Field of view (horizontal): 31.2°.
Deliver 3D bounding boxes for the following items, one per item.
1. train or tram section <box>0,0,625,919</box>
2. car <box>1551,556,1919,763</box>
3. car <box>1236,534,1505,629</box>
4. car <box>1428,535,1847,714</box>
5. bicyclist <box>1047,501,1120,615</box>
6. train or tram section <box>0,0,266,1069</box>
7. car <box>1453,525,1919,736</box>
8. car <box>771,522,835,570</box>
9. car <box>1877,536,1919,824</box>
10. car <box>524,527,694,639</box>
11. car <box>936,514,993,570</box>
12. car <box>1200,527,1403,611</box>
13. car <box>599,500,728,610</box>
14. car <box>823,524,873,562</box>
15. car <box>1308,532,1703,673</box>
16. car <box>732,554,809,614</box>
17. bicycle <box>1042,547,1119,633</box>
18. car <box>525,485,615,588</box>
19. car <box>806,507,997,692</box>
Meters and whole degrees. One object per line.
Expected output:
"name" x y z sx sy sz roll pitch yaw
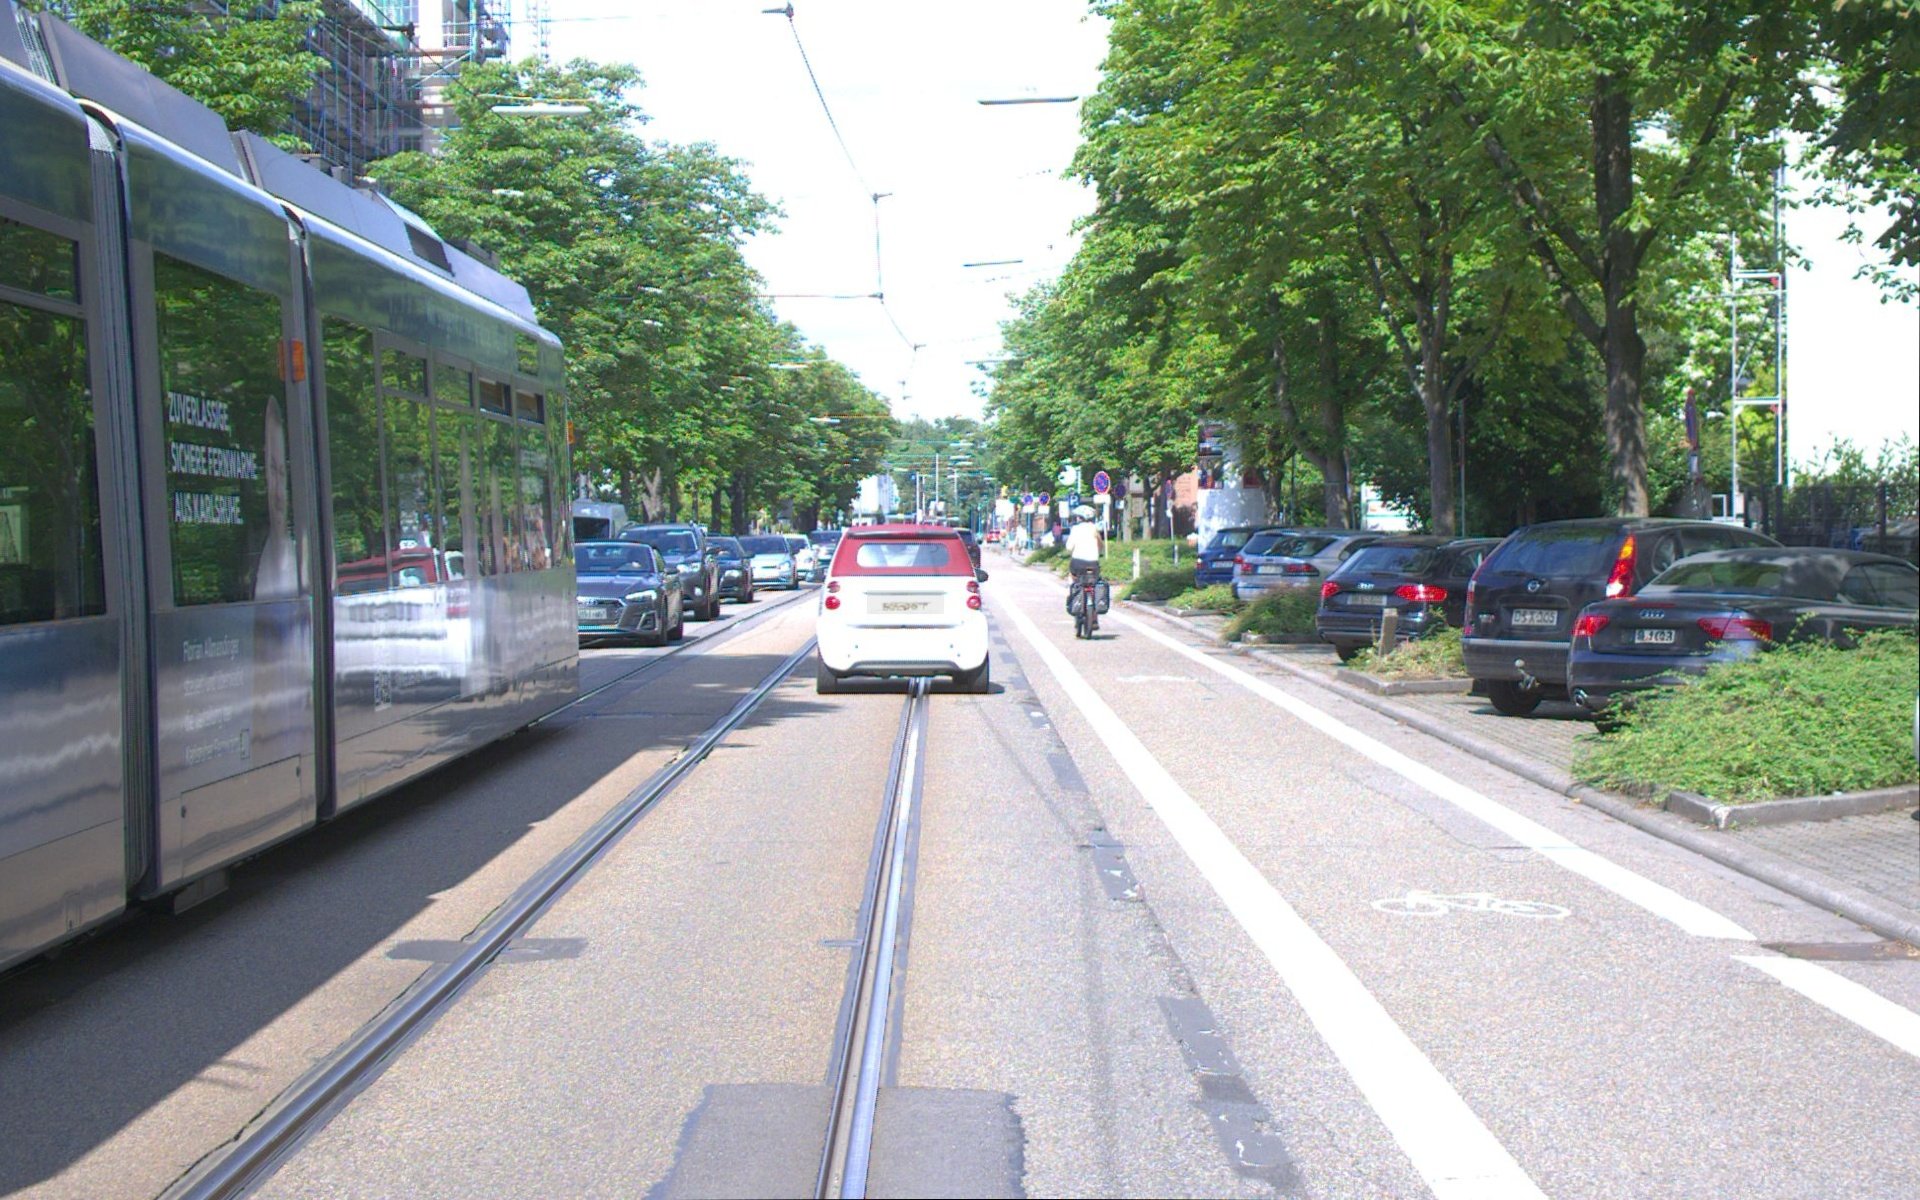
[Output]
"train or tram section" -3.977 -0.585 19.683 2.652 3.344 14.109 -2 1 0
"car" 6.342 0.395 25.145 4.164 1.344 1.904 0 1 -45
"car" 6.539 -0.318 54.576 4.230 1.415 1.723 -1 2 -38
"car" 6.247 0.175 31.453 4.065 1.438 1.725 -2 4 -44
"bicyclist" 1.702 -0.580 47.062 0.890 1.523 1.085 2 1 6
"train or tram section" -3.943 -0.356 6.956 2.652 3.377 11.473 -2 1 0
"car" 6.079 0.224 28.080 3.989 1.569 1.904 0 1 -42
"car" -4.641 -1.592 102.004 1.686 1.401 4.227 0 1 0
"car" 6.628 0.396 18.427 1.535 1.456 3.990 1 2 44
"car" -4.558 -0.265 45.189 1.799 1.383 4.426 -1 1 0
"car" 0.117 -1.735 101.773 1.665 1.619 3.621 0 1 0
"car" 6.423 -0.592 64.400 1.615 1.481 3.990 0 2 44
"car" -4.920 -0.761 57.571 1.825 1.721 4.392 2 1 -1
"car" -4.560 -2.340 140.622 1.800 1.503 4.536 1 1 1
"car" 6.081 0.044 38.024 2.030 1.437 4.524 2 1 45
"car" -4.840 -0.431 88.230 1.773 1.411 3.852 -3 1 -1
"bicycle" 1.655 -0.142 46.793 0.875 1.122 2.135 2 1 6
"car" -10.344 -1.683 91.562 1.769 2.630 5.322 1 1 0
"car" -0.532 -0.036 32.507 1.665 1.619 3.621 1 1 0
